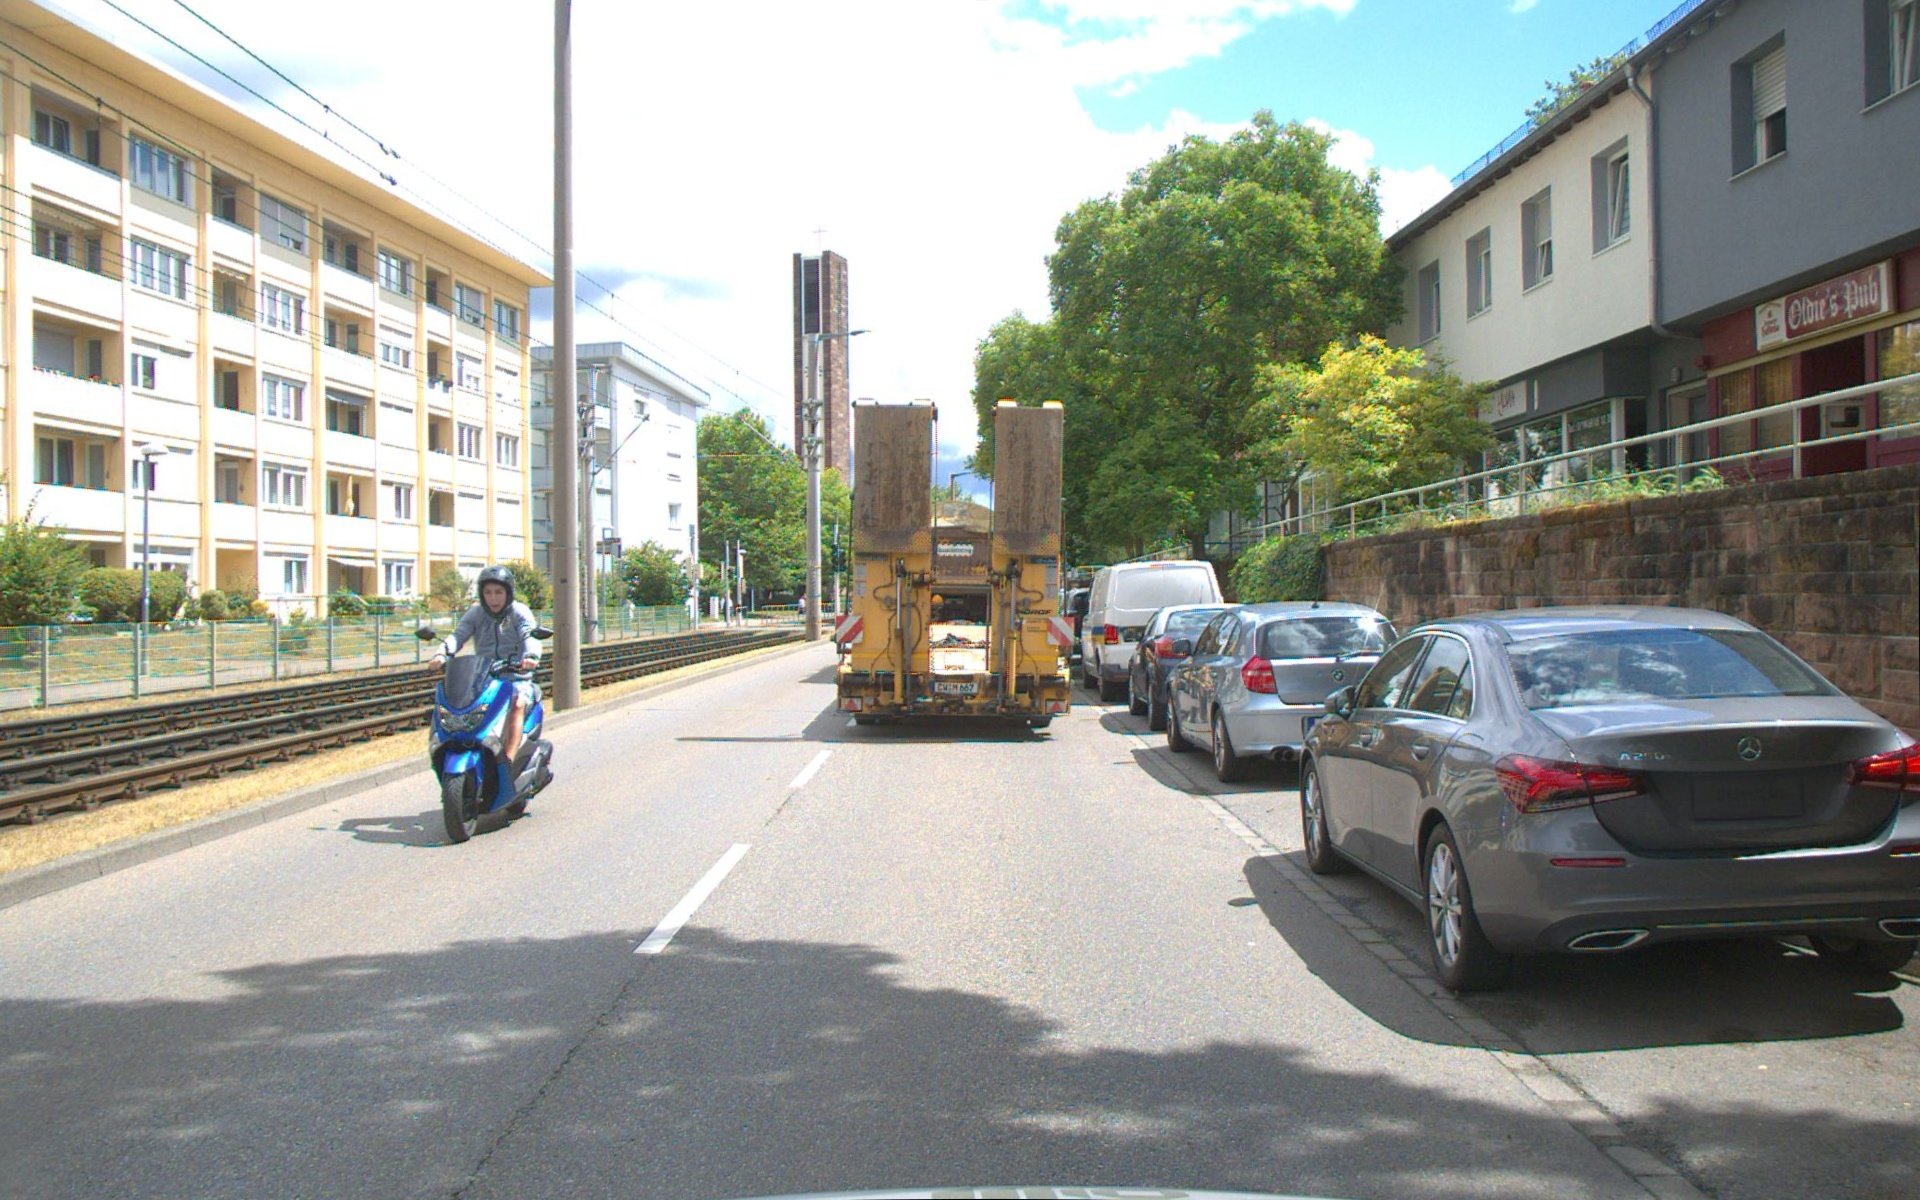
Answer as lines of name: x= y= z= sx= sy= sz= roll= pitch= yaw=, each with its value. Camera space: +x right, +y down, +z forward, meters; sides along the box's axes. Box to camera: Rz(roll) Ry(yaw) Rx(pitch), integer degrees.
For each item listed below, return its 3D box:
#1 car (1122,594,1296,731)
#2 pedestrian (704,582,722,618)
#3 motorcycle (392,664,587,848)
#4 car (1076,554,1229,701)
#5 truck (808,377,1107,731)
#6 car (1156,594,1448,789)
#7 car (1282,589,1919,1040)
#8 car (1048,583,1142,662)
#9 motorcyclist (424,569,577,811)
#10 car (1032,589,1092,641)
car: x=2.922 y=0.681 z=20.038 sx=1.587 sy=1.430 sz=3.650 roll=-2 pitch=1 yaw=1
pedestrian: x=-14.431 y=0.004 z=96.528 sx=0.936 sy=2.049 sz=1.174 roll=-1 pitch=0 yaw=-15
motorcycle: x=-2.943 y=0.945 z=10.534 sx=0.732 sy=0.970 sz=1.832 roll=1 pitch=1 yaw=-1
car: x=2.857 y=0.358 z=25.453 sx=1.762 sy=2.003 sz=4.590 roll=-2 pitch=1 yaw=0
truck: x=-0.160 y=-0.555 z=23.253 sx=3.061 sy=3.626 sz=12.457 roll=0 pitch=1 yaw=-1
car: x=2.895 y=0.698 z=14.853 sx=1.656 sy=1.430 sz=4.068 roll=-2 pitch=1 yaw=-2
car: x=2.807 y=0.703 z=7.719 sx=1.798 sy=1.430 sz=4.414 roll=-2 pitch=1 yaw=1
car: x=2.996 y=0.463 z=37.367 sx=1.762 sy=1.651 sz=4.291 roll=0 pitch=1 yaw=0
motorcyclist: x=-2.941 y=0.550 z=10.653 sx=0.732 sy=1.492 sz=0.887 roll=0 pitch=0 yaw=-1
car: x=3.390 y=0.482 z=55.662 sx=1.762 sy=1.651 sz=4.291 roll=0 pitch=1 yaw=0
